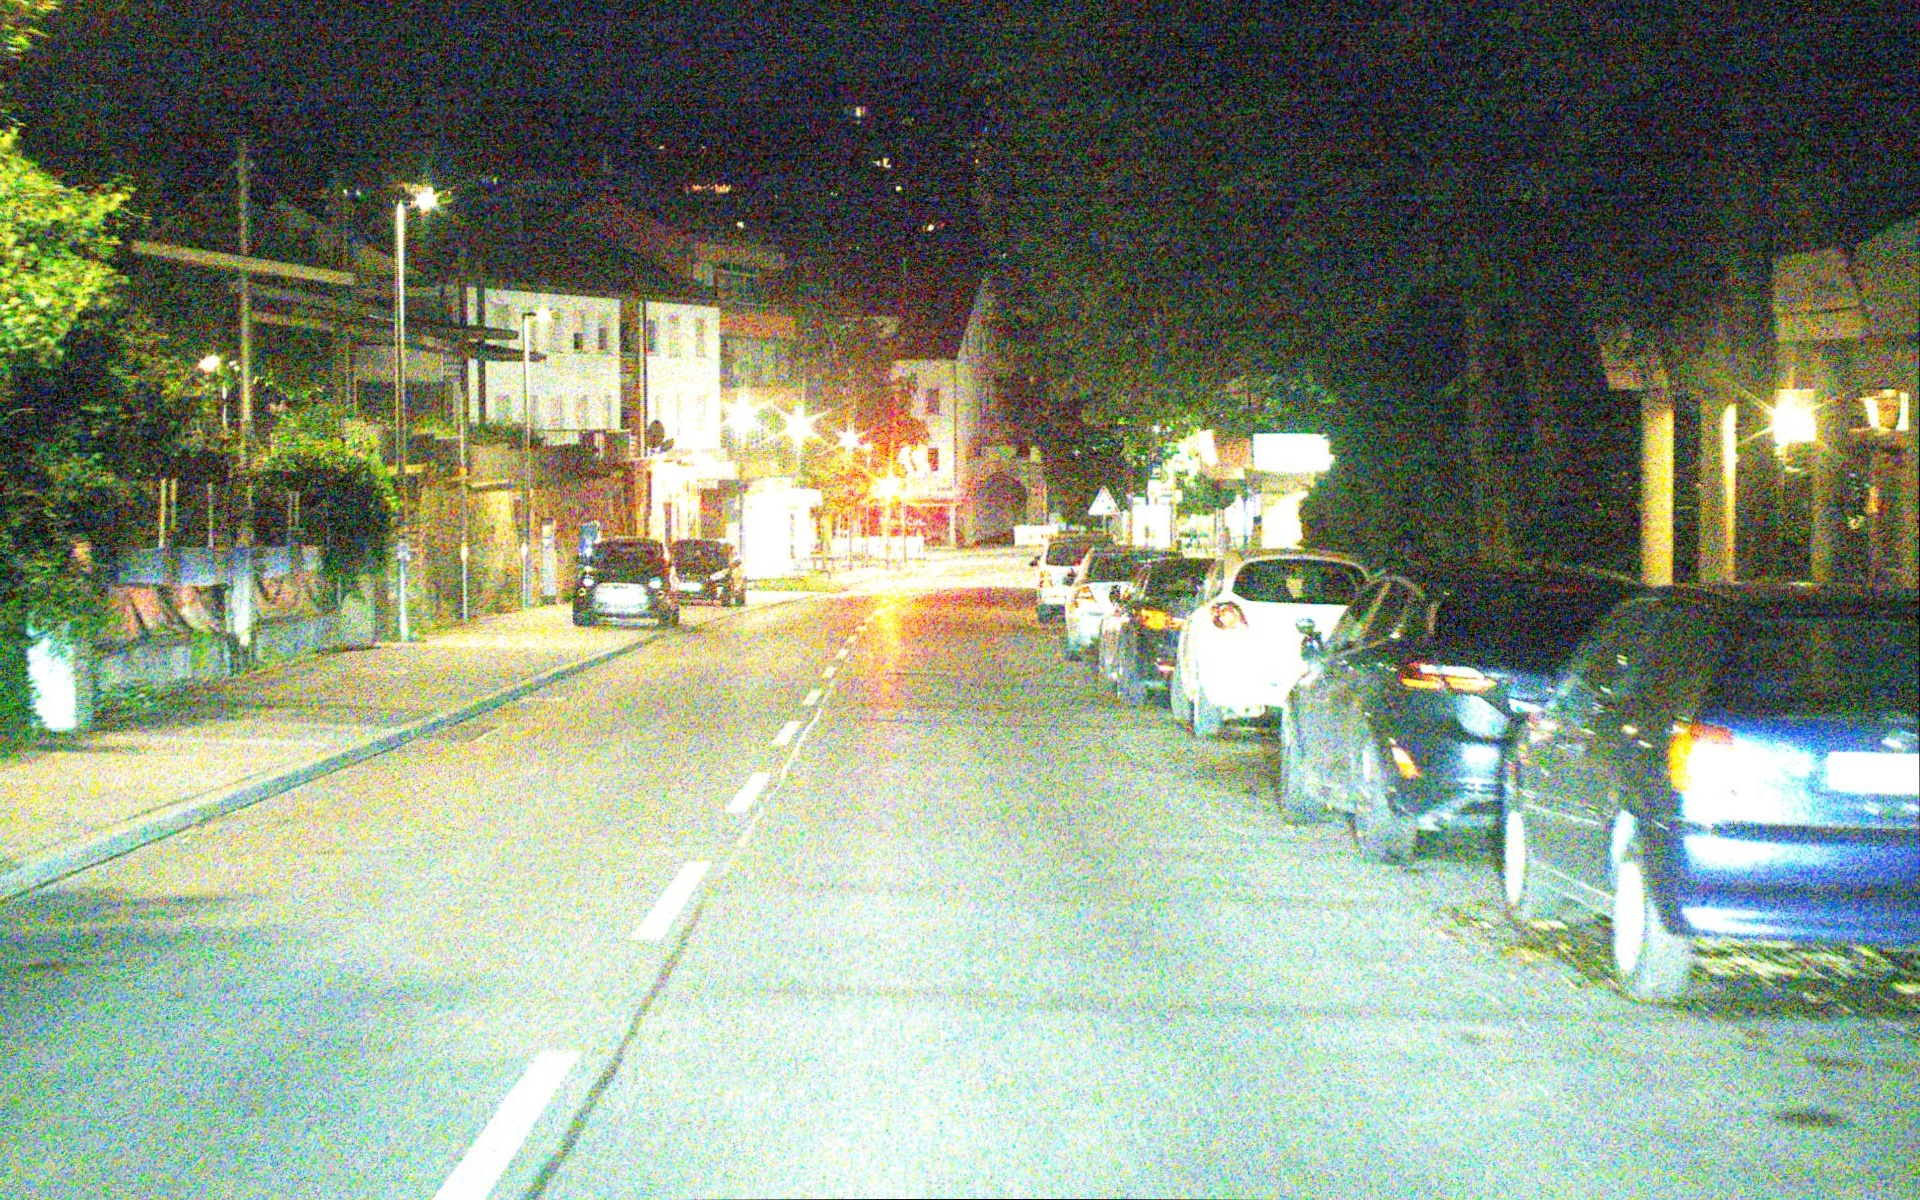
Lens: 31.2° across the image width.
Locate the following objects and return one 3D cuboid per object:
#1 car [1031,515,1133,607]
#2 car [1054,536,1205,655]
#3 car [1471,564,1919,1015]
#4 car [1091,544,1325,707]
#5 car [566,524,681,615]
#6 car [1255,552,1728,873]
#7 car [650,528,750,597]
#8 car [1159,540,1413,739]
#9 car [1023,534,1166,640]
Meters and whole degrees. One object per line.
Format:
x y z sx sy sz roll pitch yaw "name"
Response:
2.266 -0.760 64.894 1.787 1.636 4.380 -2 1 1 "car"
2.145 -0.093 44.481 1.676 1.442 4.612 0 1 -1 "car"
2.994 0.597 12.769 1.600 1.394 3.518 1 1 -1 "car"
2.309 0.190 33.023 1.762 1.411 4.441 1 1 -2 "car"
-5.821 -0.520 59.838 1.691 1.518 3.691 1 0 -1 "car"
2.628 0.490 17.876 1.676 1.442 4.001 0 1 -2 "car"
-5.790 -0.857 77.055 1.692 1.432 4.128 2 1 3 "car"
2.602 0.268 28.187 1.638 1.461 3.776 2 1 -1 "car"
1.927 -0.227 50.286 1.780 1.432 4.290 1 1 -1 "car"
